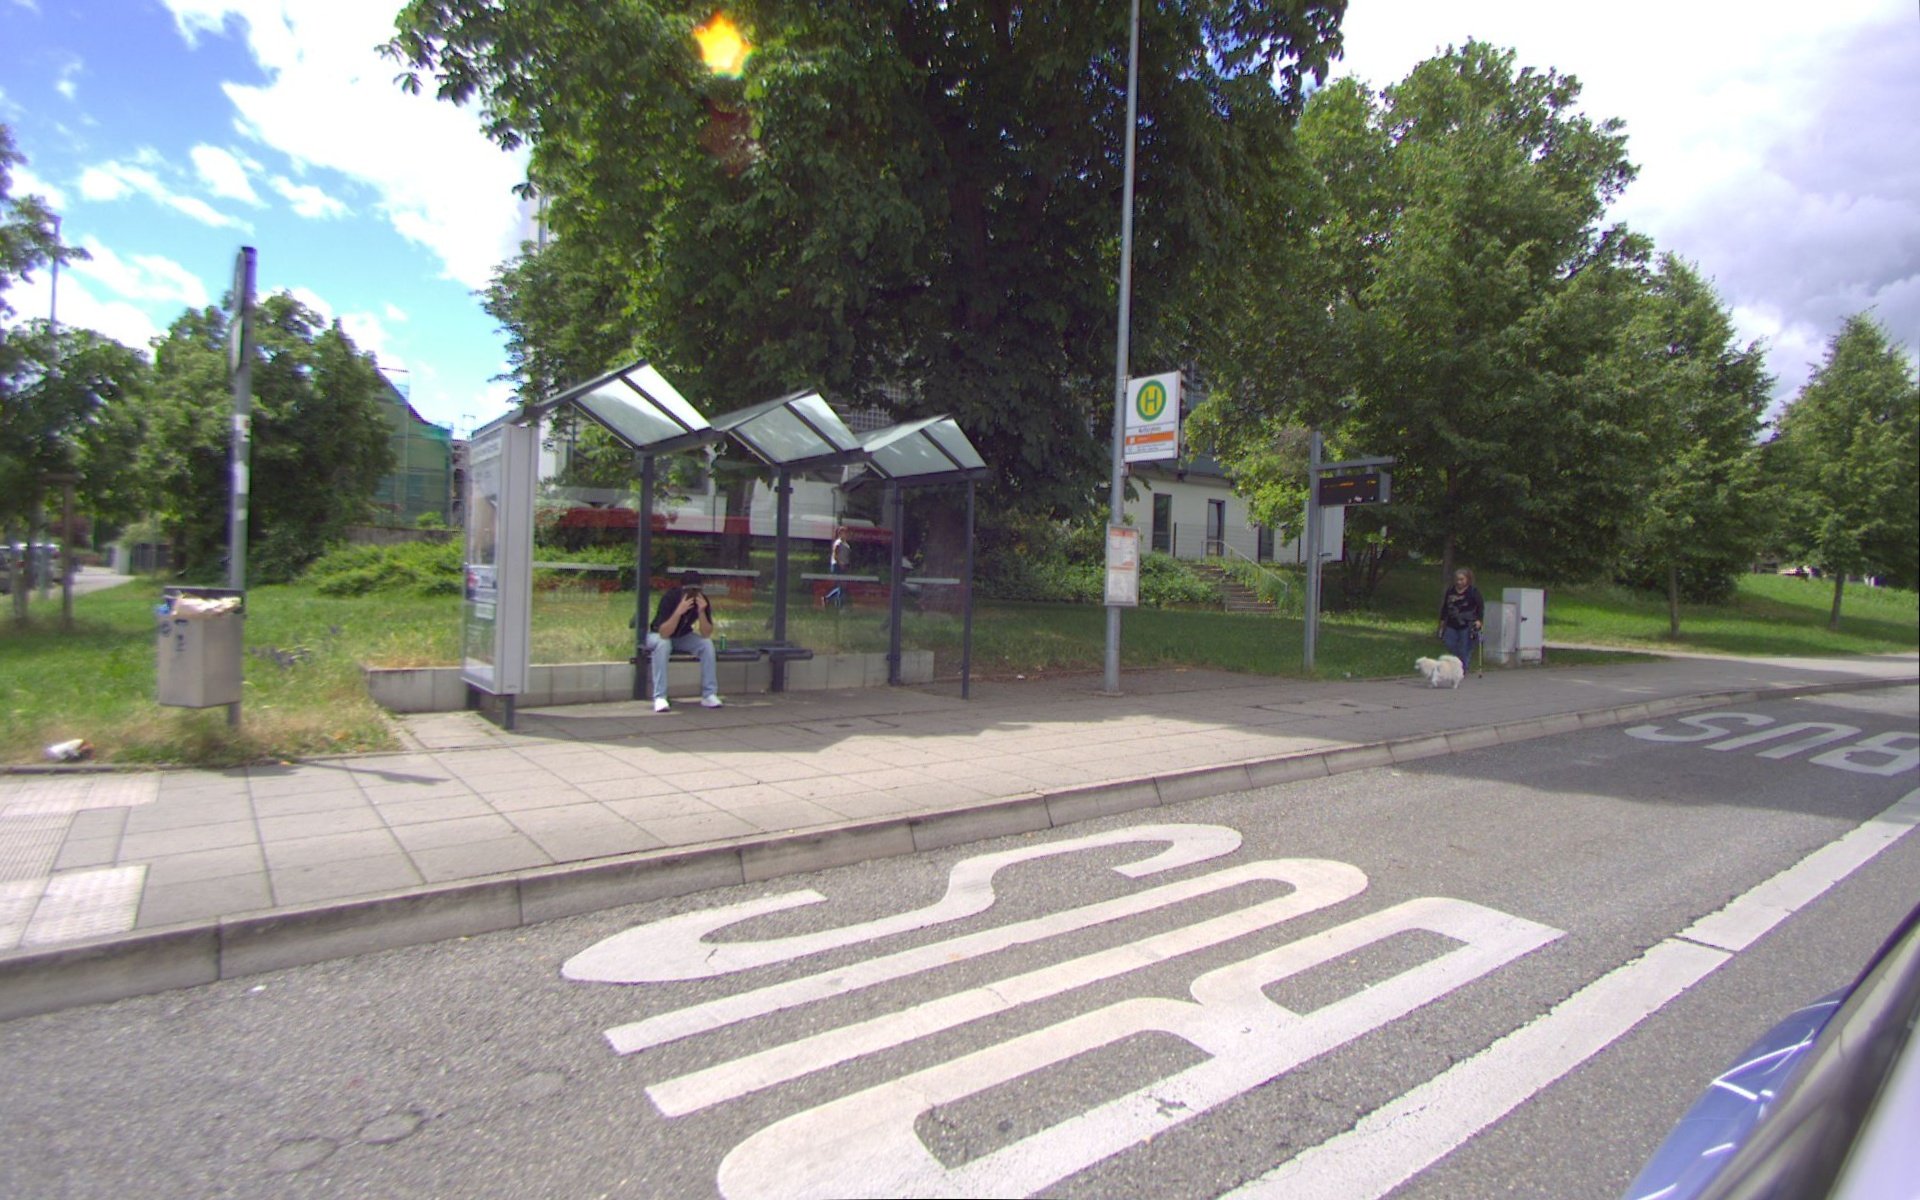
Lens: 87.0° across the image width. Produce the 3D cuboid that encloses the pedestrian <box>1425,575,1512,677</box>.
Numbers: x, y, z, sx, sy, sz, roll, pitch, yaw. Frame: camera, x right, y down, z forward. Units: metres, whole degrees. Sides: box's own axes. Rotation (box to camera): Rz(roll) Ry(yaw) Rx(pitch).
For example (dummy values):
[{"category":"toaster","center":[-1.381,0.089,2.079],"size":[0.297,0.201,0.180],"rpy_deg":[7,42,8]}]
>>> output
[{"category":"pedestrian","center":[7.471,0.358,14.883],"size":[0.814,1.442,0.823],"rpy_deg":[0,2,-32]}]

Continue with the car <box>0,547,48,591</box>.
[{"category":"car","center":[-32.269,-1.060,34.066],"size":[1.813,1.382,4.001],"rpy_deg":[2,0,-35]}]

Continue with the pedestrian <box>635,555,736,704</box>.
[{"category":"pedestrian","center":[-2.497,0.243,9.170],"size":[0.672,1.274,0.831],"rpy_deg":[1,1,-30]}]

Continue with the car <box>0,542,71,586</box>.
[{"category":"car","center":[-35.623,-1.392,38.951],"size":[1.758,1.610,4.000],"rpy_deg":[0,2,-36]}]

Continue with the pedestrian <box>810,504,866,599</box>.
[{"category":"pedestrian","center":[-2.379,-0.930,19.670],"size":[0.840,1.782,0.991],"rpy_deg":[0,2,-23]}]

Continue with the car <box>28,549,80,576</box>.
[{"category":"car","center":[-56.313,-2.332,62.985],"size":[1.962,1.578,4.092],"rpy_deg":[1,2,-36]}]

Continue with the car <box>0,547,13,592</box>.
[{"category":"car","center":[-29.007,-0.901,29.331],"size":[1.834,1.302,3.999],"rpy_deg":[1,2,-37]}]
